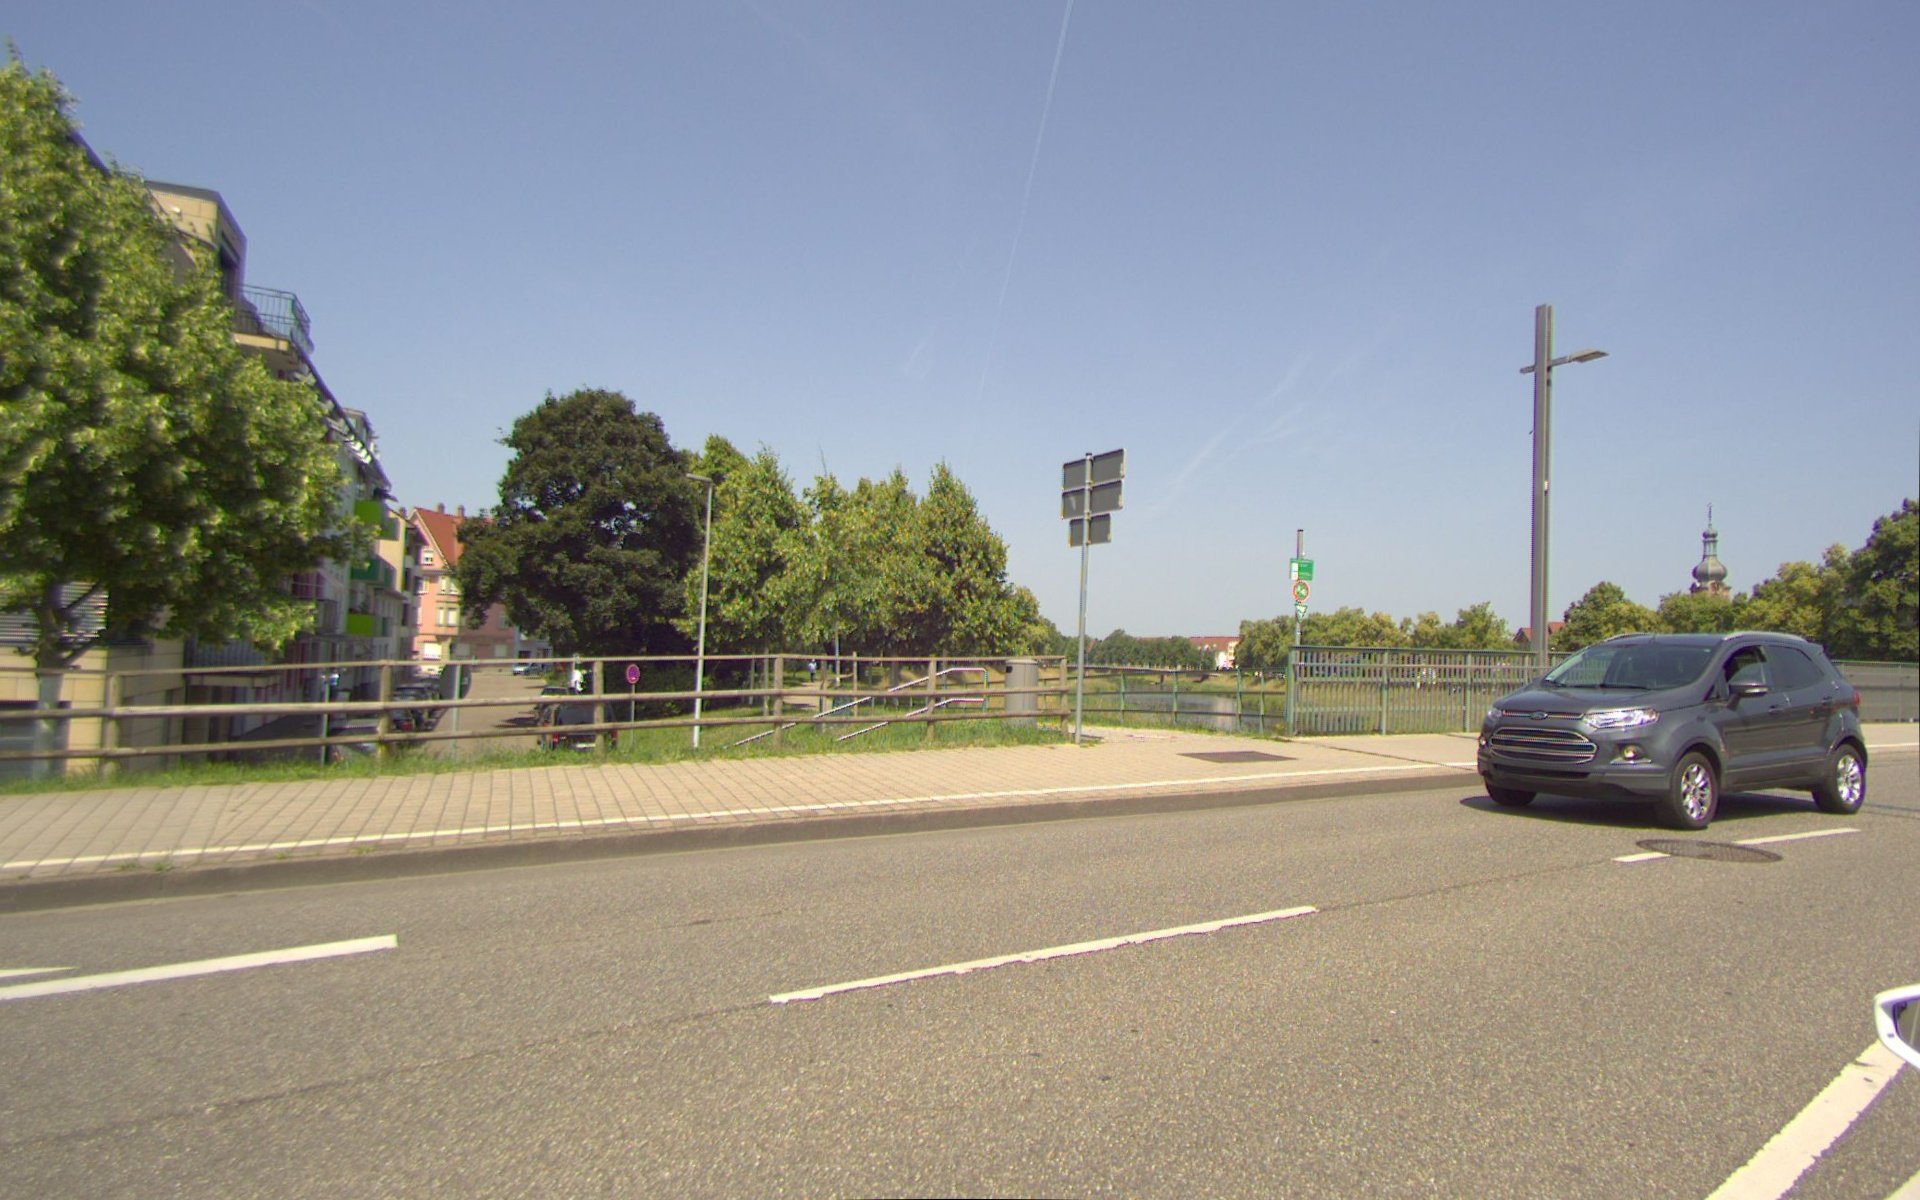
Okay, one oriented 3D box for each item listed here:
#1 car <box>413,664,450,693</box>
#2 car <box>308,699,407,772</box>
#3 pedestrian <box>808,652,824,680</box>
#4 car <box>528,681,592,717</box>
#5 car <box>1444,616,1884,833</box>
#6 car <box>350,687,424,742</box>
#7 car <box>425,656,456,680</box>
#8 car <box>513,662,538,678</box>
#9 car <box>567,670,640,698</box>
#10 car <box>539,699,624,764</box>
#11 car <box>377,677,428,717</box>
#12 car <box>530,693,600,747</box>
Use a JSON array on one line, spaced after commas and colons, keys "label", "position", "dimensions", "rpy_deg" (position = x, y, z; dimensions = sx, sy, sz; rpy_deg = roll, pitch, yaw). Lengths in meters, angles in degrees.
[{"label": "car", "position": [-33.648, 4.995, 63.968], "dimensions": [1.975, 1.671, 3.972], "rpy_deg": [3, -3, -27]}, {"label": "car", "position": [-16.251, 3.586, 27.264], "dimensions": [1.975, 1.670, 3.973], "rpy_deg": [3, -4, -27]}, {"label": "pedestrian", "position": [-10.682, 4.890, 74.306], "dimensions": [0.873, 2.040, 0.720], "rpy_deg": [4, -2, -29]}, {"label": "car", "position": [-20.344, 5.004, 51.242], "dimensions": [1.962, 1.670, 3.998], "rpy_deg": [1, -4, -6]}, {"label": "car", "position": [6.596, 1.075, 9.391], "dimensions": [3.870, 1.662, 1.731], "rpy_deg": [2, -4, -27]}, {"label": "car", "position": [-19.552, 3.855, 34.425], "dimensions": [1.975, 1.670, 3.973], "rpy_deg": [3, -4, -27]}, {"label": "car", "position": [-39.727, 5.203, 76.837], "dimensions": [1.975, 1.671, 3.972], "rpy_deg": [3, -3, -27]}, {"label": "car", "position": [-48.230, 7.779, 111.562], "dimensions": [1.750, 1.671, 3.990], "rpy_deg": [2, -2, -13]}, {"label": "car", "position": [-22.203, 5.252, 62.550], "dimensions": [3.953, 1.670, 1.985], "rpy_deg": [3, -4, -30]}, {"label": "car", "position": [-11.417, 3.868, 30.147], "dimensions": [1.974, 1.670, 3.975], "rpy_deg": [2, -4, -26]}, {"label": "car", "position": [-27.001, 4.662, 48.792], "dimensions": [1.975, 1.671, 3.972], "rpy_deg": [3, -3, -27]}, {"label": "car", "position": [-13.965, 4.167, 35.397], "dimensions": [1.974, 1.670, 3.975], "rpy_deg": [2, -4, -26]}]
